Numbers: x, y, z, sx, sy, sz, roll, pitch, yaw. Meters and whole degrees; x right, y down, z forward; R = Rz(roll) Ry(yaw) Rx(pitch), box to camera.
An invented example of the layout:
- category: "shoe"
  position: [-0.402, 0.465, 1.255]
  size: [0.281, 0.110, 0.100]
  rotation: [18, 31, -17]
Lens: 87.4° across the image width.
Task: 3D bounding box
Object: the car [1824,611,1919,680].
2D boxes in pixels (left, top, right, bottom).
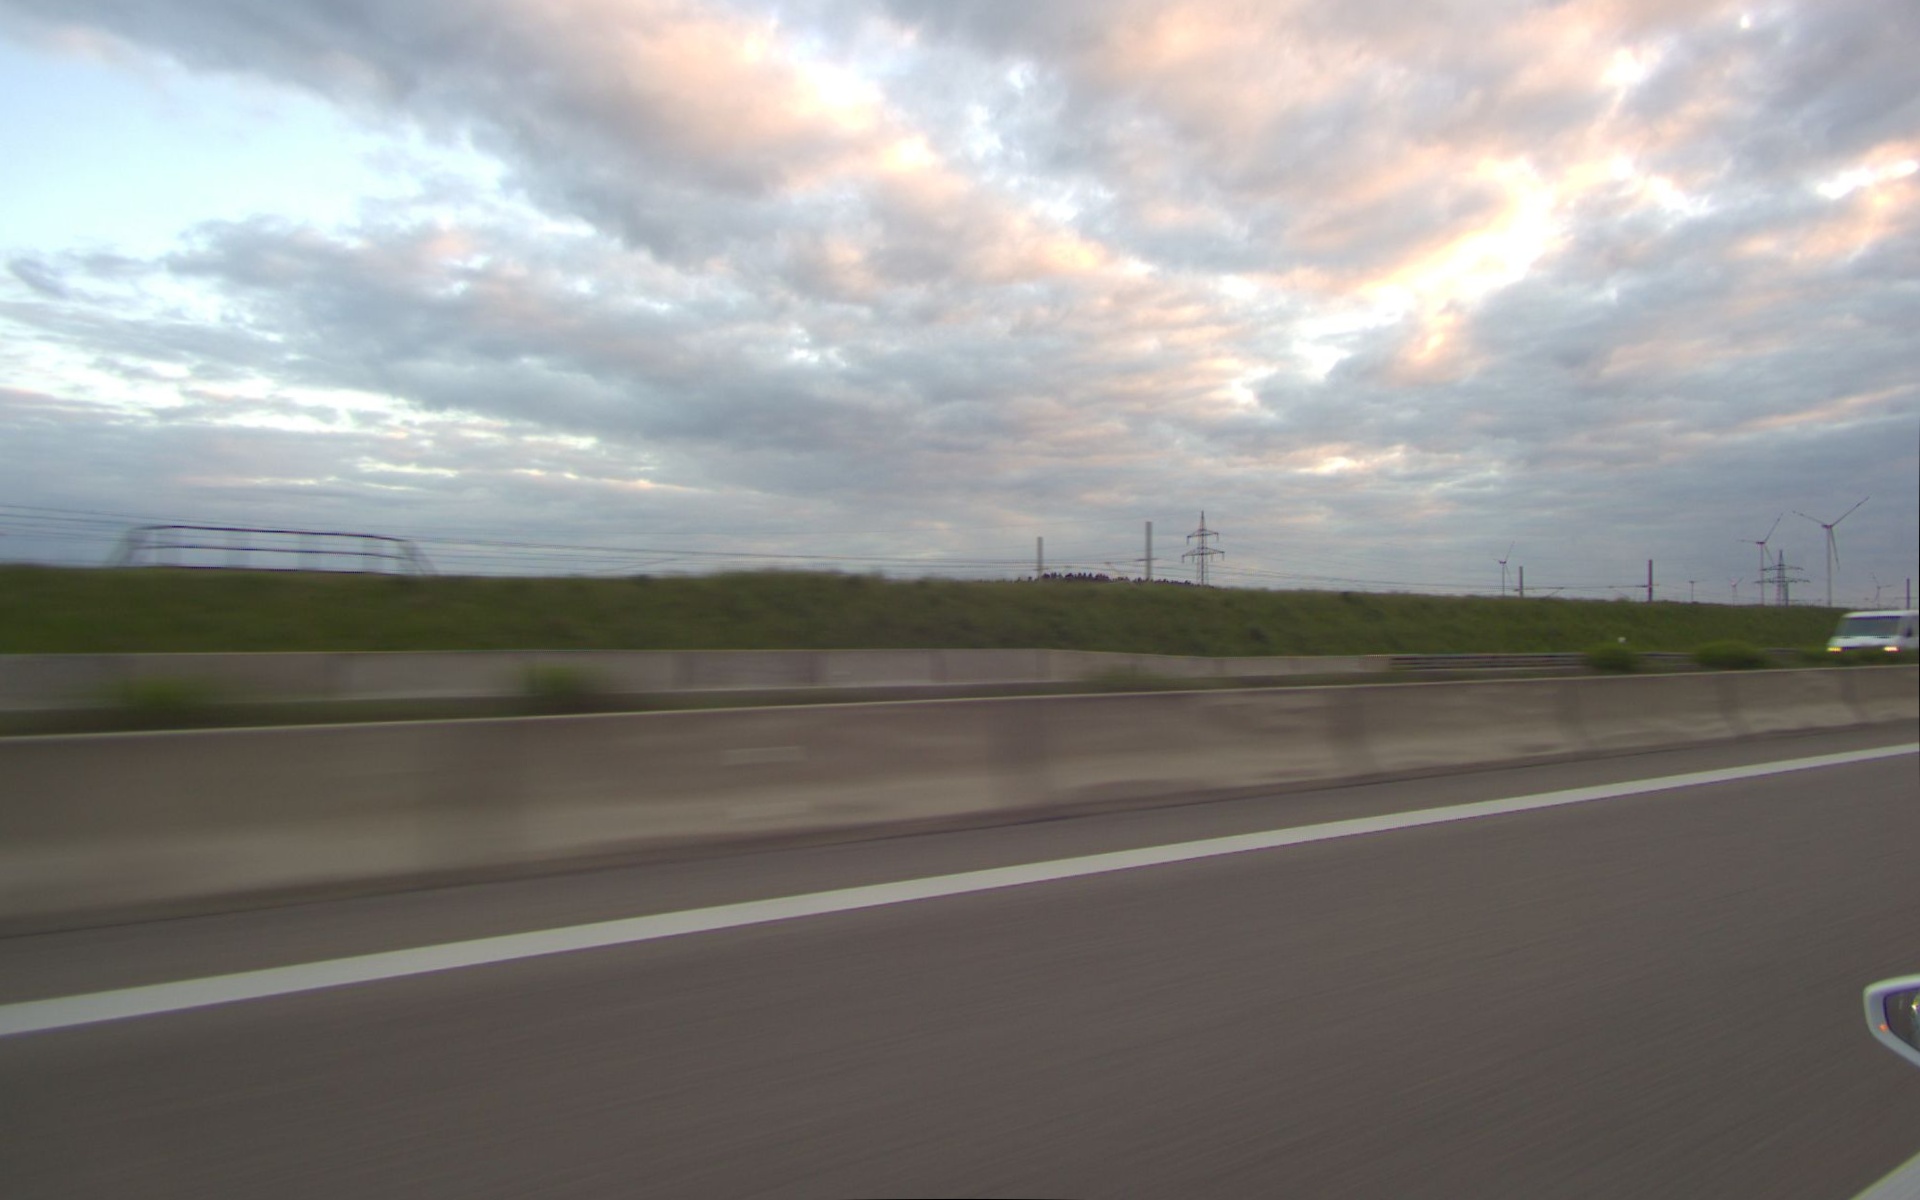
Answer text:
- category: "car"
  position: [34.969, 1.695, 37.481]
  size: [6.415, 2.375, 2.118]
  rotation: [2, -3, -30]
